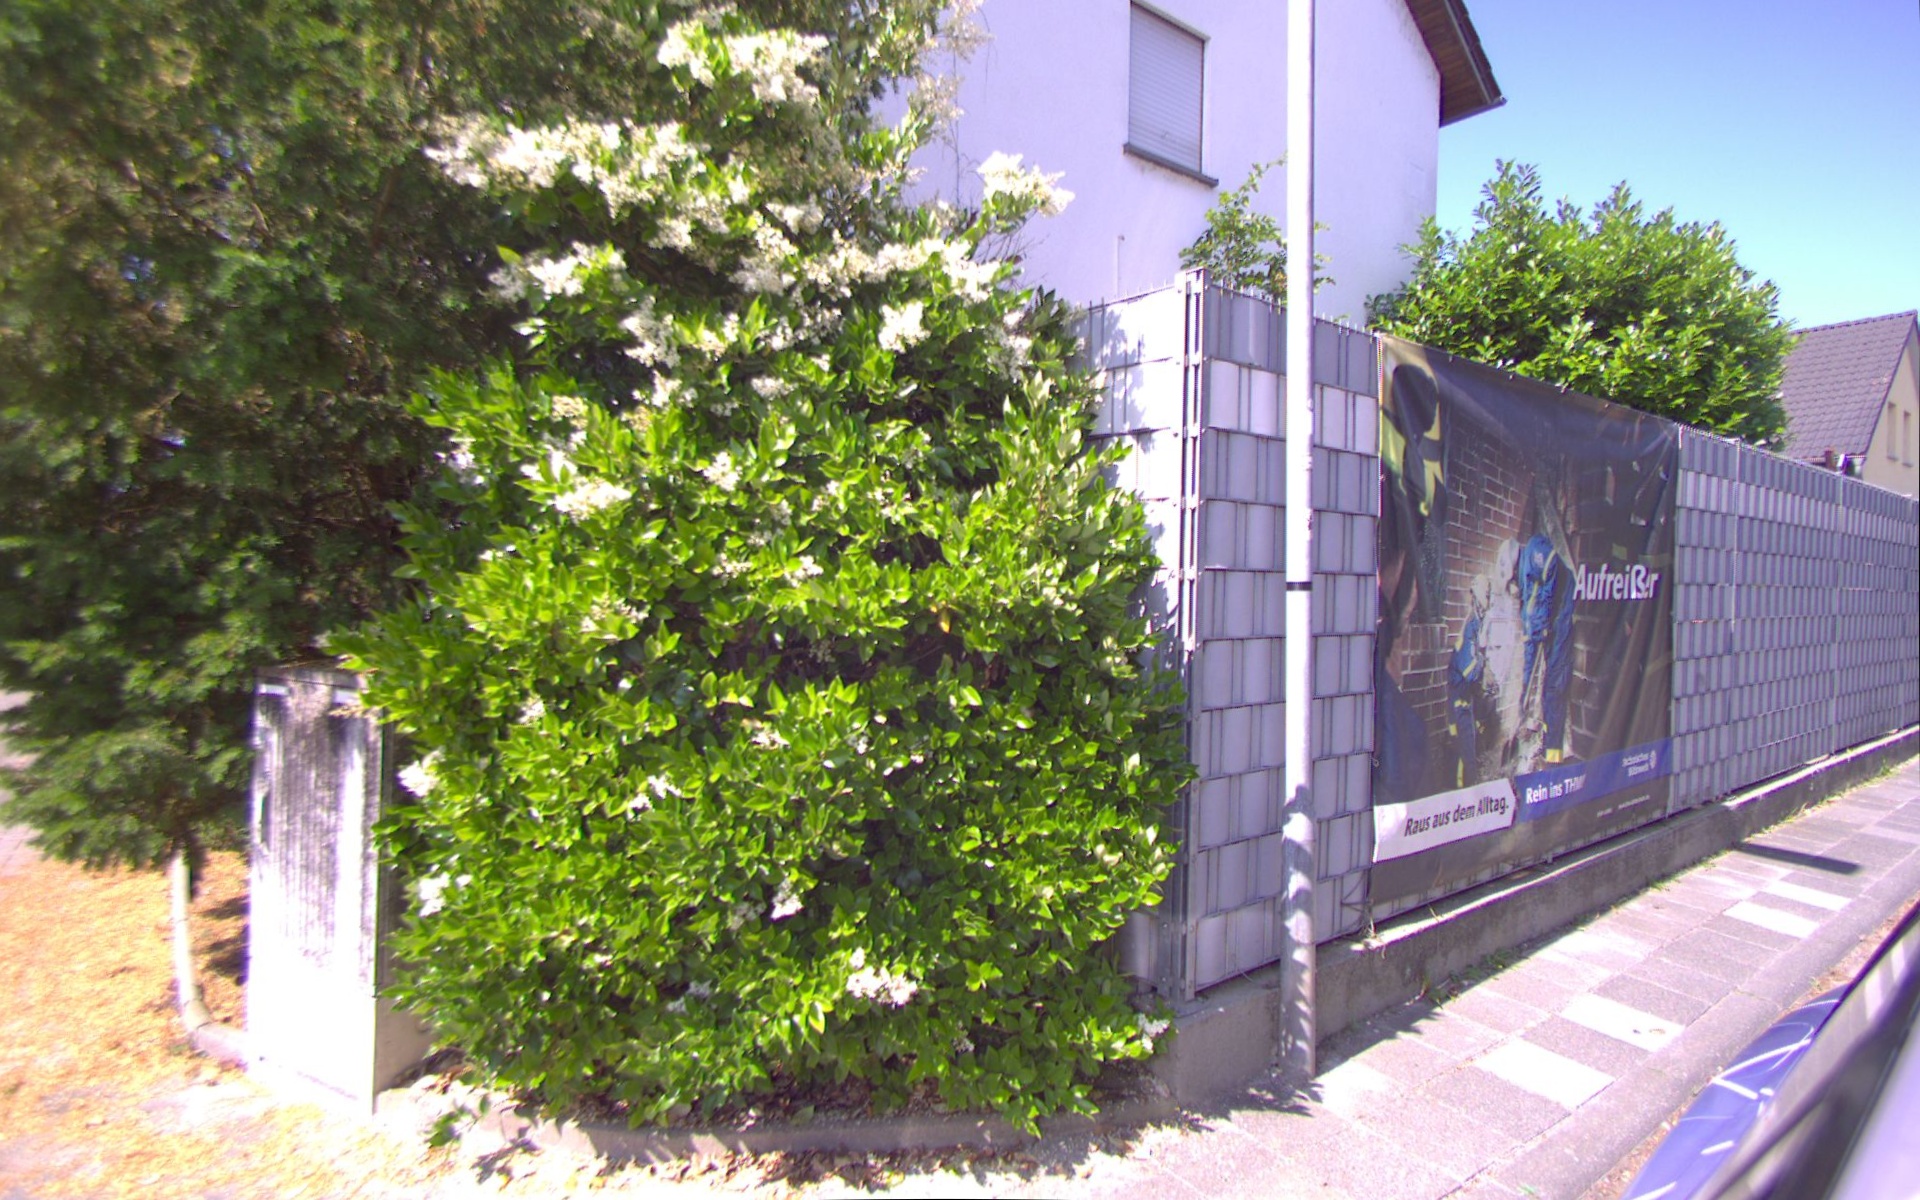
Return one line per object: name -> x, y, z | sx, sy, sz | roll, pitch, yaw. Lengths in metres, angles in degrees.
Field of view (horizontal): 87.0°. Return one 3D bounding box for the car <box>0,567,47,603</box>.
car -> -39.328, -0.644, 42.029 | 1.764, 1.428, 3.997 | 0, 1, -37
